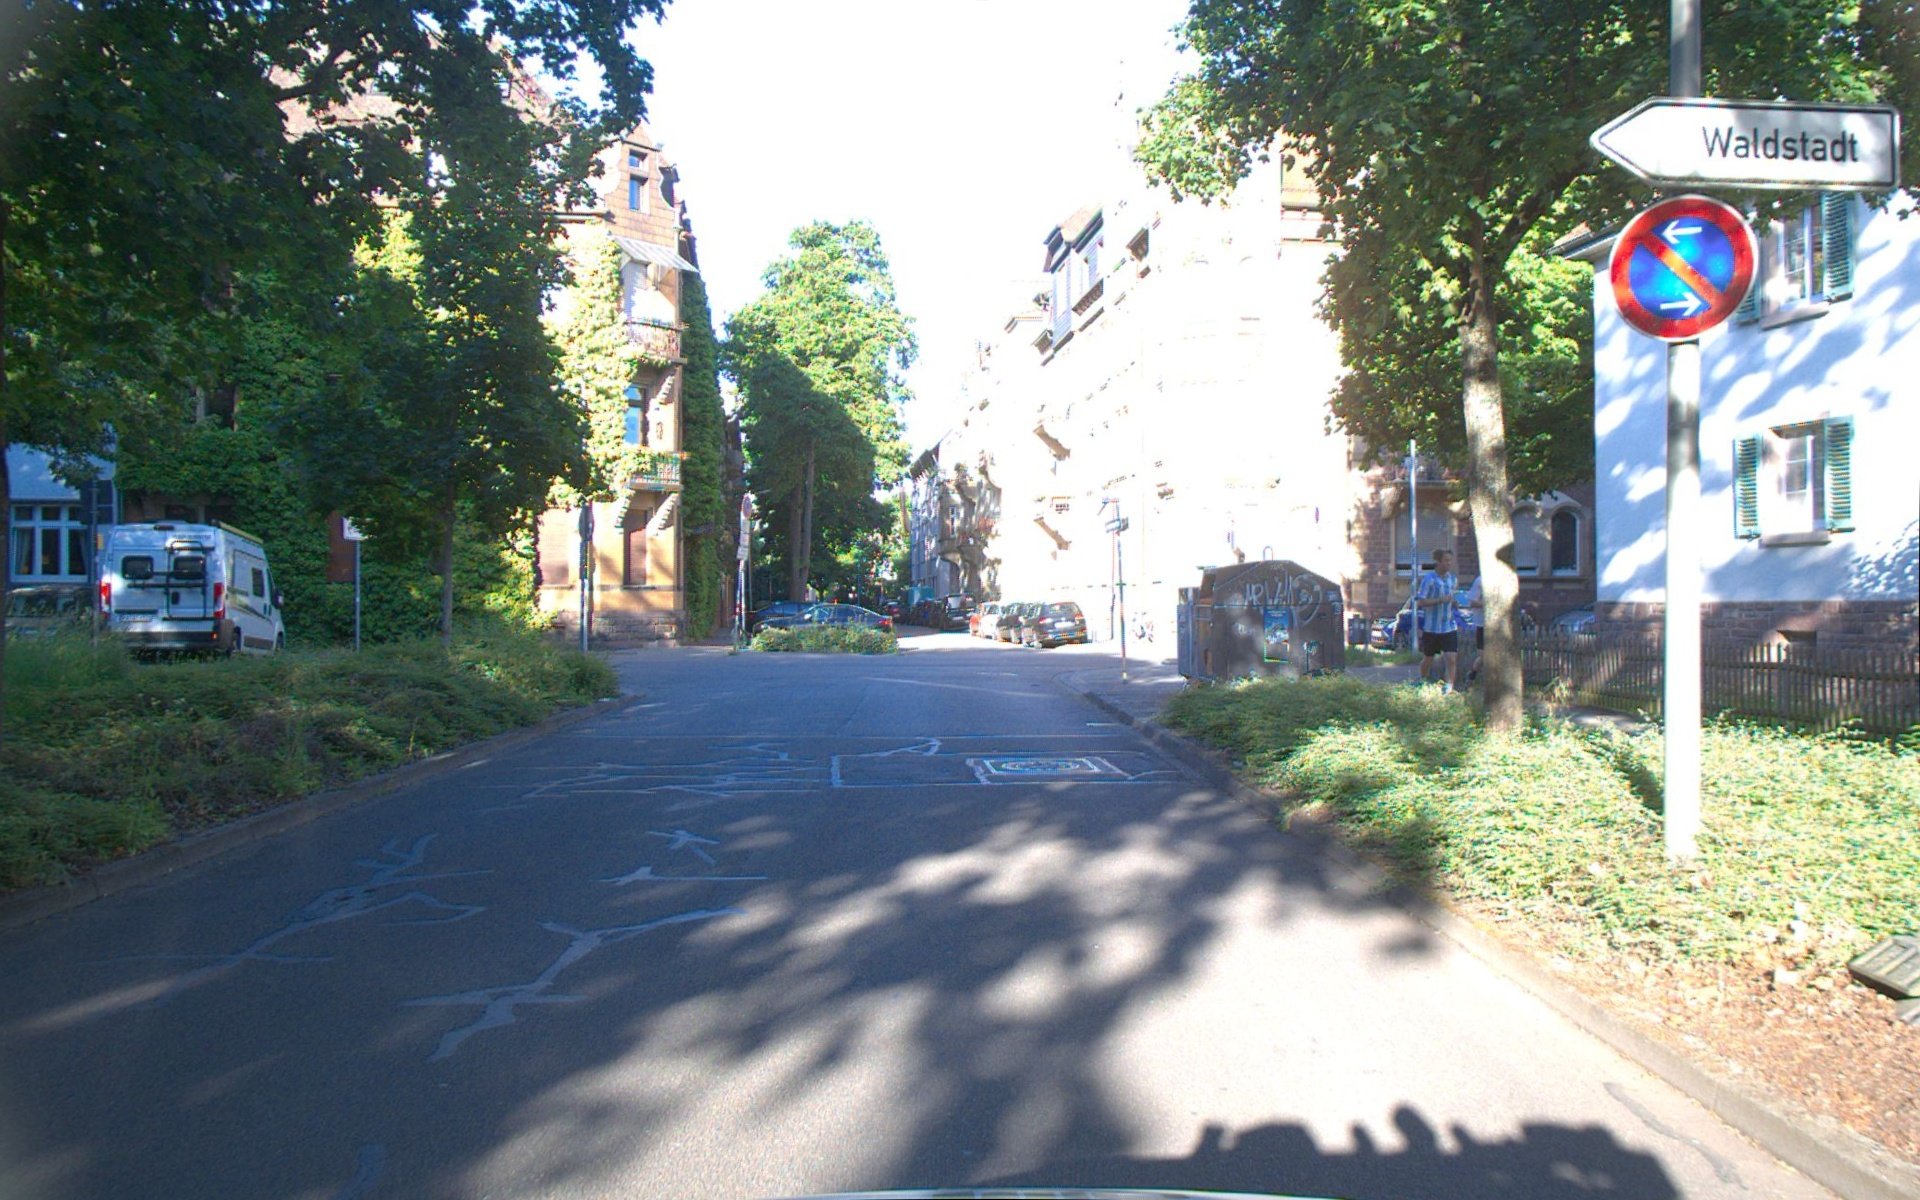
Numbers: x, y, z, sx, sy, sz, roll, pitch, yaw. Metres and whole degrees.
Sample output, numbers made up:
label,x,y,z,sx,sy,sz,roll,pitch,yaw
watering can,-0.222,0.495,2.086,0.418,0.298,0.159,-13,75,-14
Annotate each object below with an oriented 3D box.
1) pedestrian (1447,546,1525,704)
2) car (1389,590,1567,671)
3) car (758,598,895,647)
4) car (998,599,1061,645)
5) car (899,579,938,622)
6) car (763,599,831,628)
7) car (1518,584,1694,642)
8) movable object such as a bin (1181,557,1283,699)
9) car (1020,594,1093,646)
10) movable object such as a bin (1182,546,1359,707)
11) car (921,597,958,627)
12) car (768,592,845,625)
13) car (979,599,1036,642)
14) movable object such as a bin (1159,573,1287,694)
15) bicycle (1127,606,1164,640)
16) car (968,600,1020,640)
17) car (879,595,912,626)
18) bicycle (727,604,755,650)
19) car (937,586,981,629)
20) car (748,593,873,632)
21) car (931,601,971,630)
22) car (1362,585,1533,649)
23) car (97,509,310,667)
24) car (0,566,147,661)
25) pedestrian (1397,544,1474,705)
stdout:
label,x,y,z,sx,sy,sz,roll,pitch,yaw
pedestrian,6.592,0.306,20.756,0.629,1.927,1.018,1,-1,-1
car,10.736,0.669,34.590,1.957,1.583,3.989,1,-2,-10
car,-4.220,0.704,51.961,4.164,1.460,1.996,1,-1,-9
car,2.485,0.778,60.228,1.704,1.609,3.994,1,0,-6
car,-2.722,0.049,107.827,2.124,2.738,4.784,1,0,-6
car,-9.208,0.763,93.509,3.730,1.603,1.707,1,-1,-9
car,18.052,0.343,46.295,4.361,1.525,1.730,-1,1,-11
movable object such as a bin,3.675,0.372,22.465,1.124,1.859,1.386,1,-1,-2
car,3.108,0.641,53.965,1.704,1.609,3.994,1,0,-6
movable object such as a bin,3.786,0.324,20.380,1.881,1.886,1.393,1,-1,-2
car,-1.236,0.708,97.646,1.768,1.708,3.994,1,0,-6
car,-7.792,0.411,83.768,3.732,1.603,1.706,1,-1,-11
car,1.845,0.808,65.594,1.704,1.609,3.994,1,0,-6
movable object such as a bin,3.795,0.479,24.064,1.554,1.686,1.639,1,-1,-2
bicycle,5.664,0.704,50.571,0.506,1.015,1.568,1,-1,-18
car,1.409,0.835,70.126,1.704,1.609,3.994,1,0,-6
car,-4.916,0.771,124.801,2.124,2.276,4.784,1,0,-6
bicycle,-6.304,0.754,47.617,0.551,1.290,1.603,-1,0,1
car,-0.071,0.378,82.479,1.768,2.039,3.994,1,0,-6
car,-5.820,0.483,64.238,4.744,1.460,1.707,1,-1,-9
car,-0.495,0.827,90.792,1.768,1.541,3.994,1,0,-6
car,13.367,0.453,45.429,4.169,1.650,1.731,1,1,-11
car,-14.015,-0.179,31.057,2.191,2.660,5.618,1,0,-10
car,-16.533,0.237,30.100,1.936,1.602,4.290,1,0,-10
pedestrian,5.815,0.296,20.241,0.659,1.927,0.895,1,-1,-1
